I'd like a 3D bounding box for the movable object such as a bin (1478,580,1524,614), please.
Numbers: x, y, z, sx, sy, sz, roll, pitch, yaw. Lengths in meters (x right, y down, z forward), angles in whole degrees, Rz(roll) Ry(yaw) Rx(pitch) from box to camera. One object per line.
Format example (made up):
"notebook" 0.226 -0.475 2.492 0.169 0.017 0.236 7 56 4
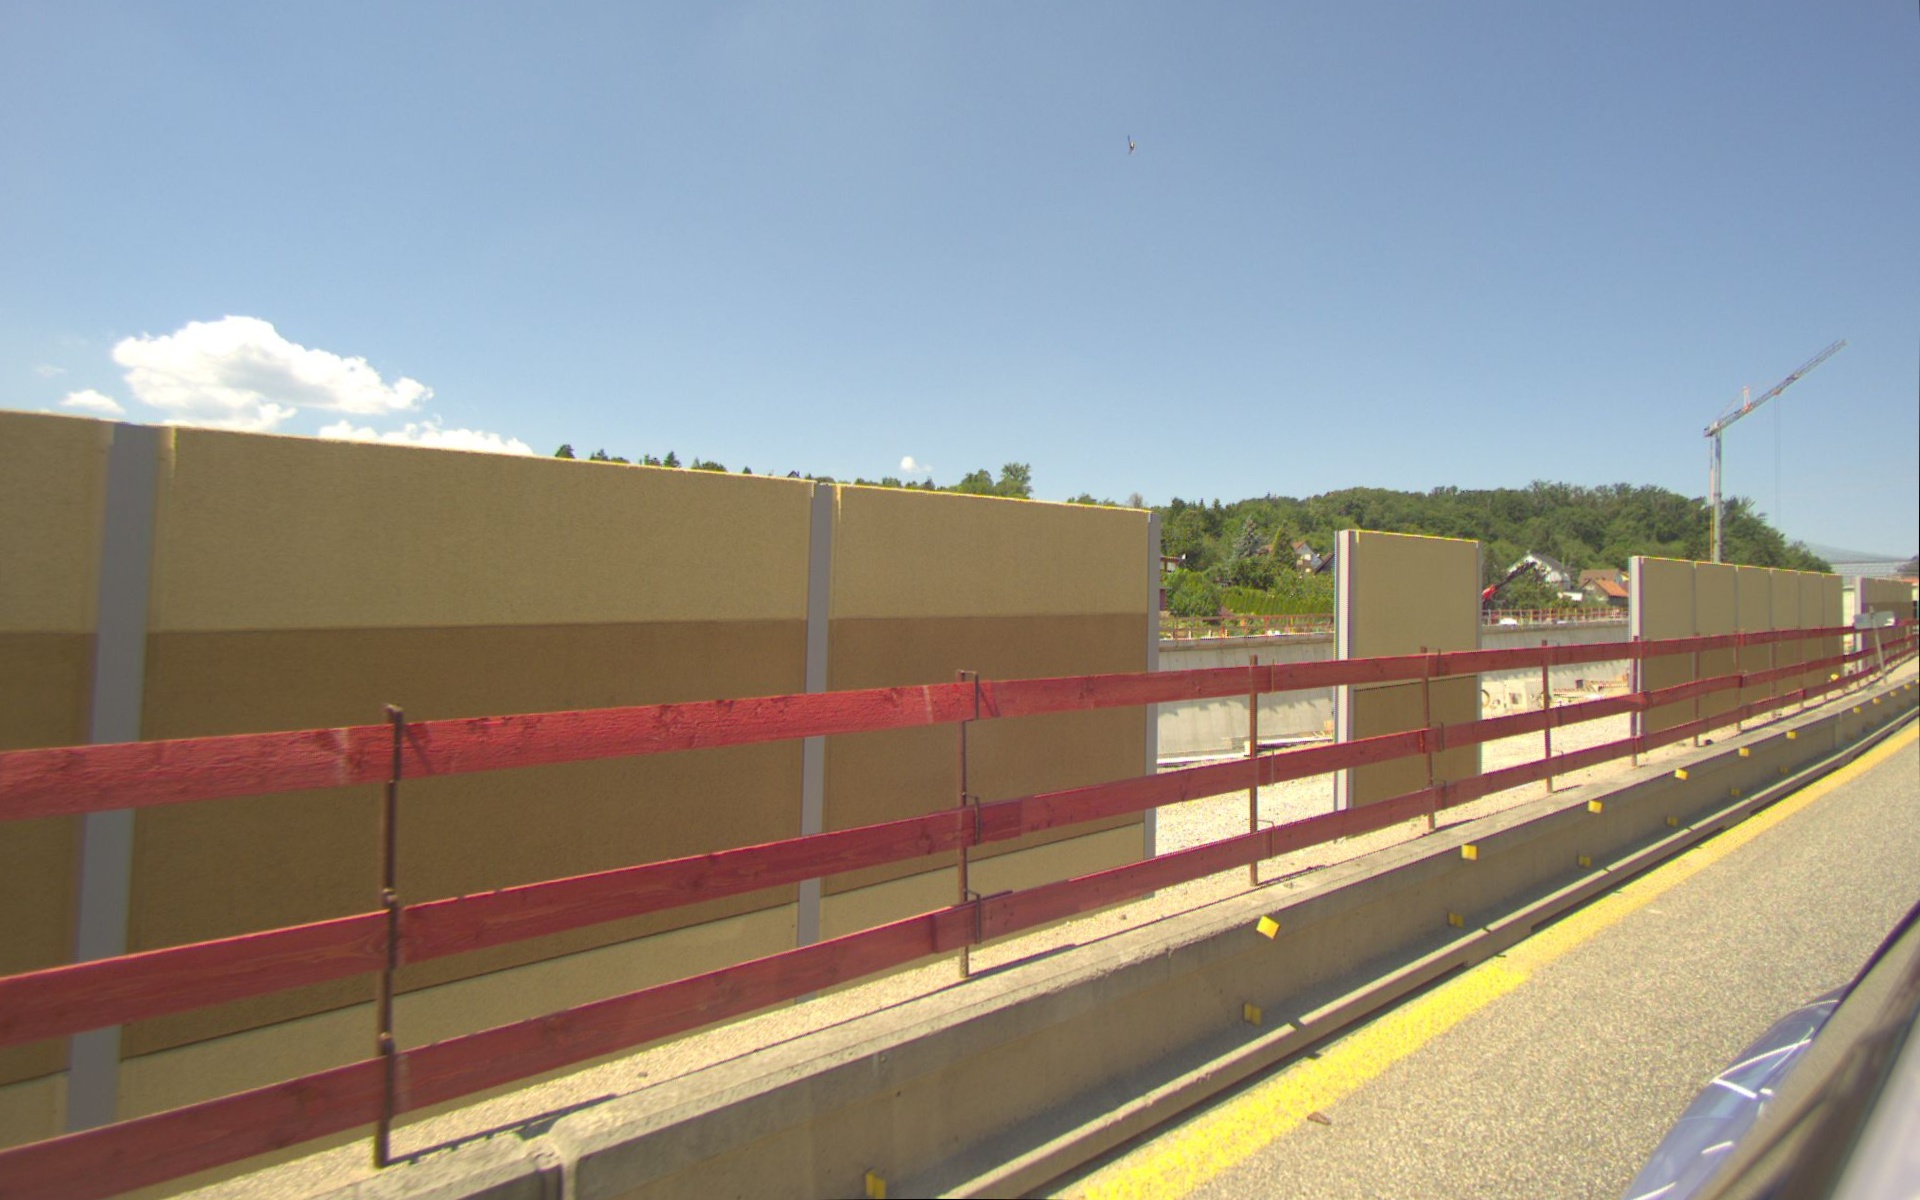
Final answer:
"movable object such as a bin" 50.324 -0.270 94.166 4.831 3.123 2.201 1 0 -41
